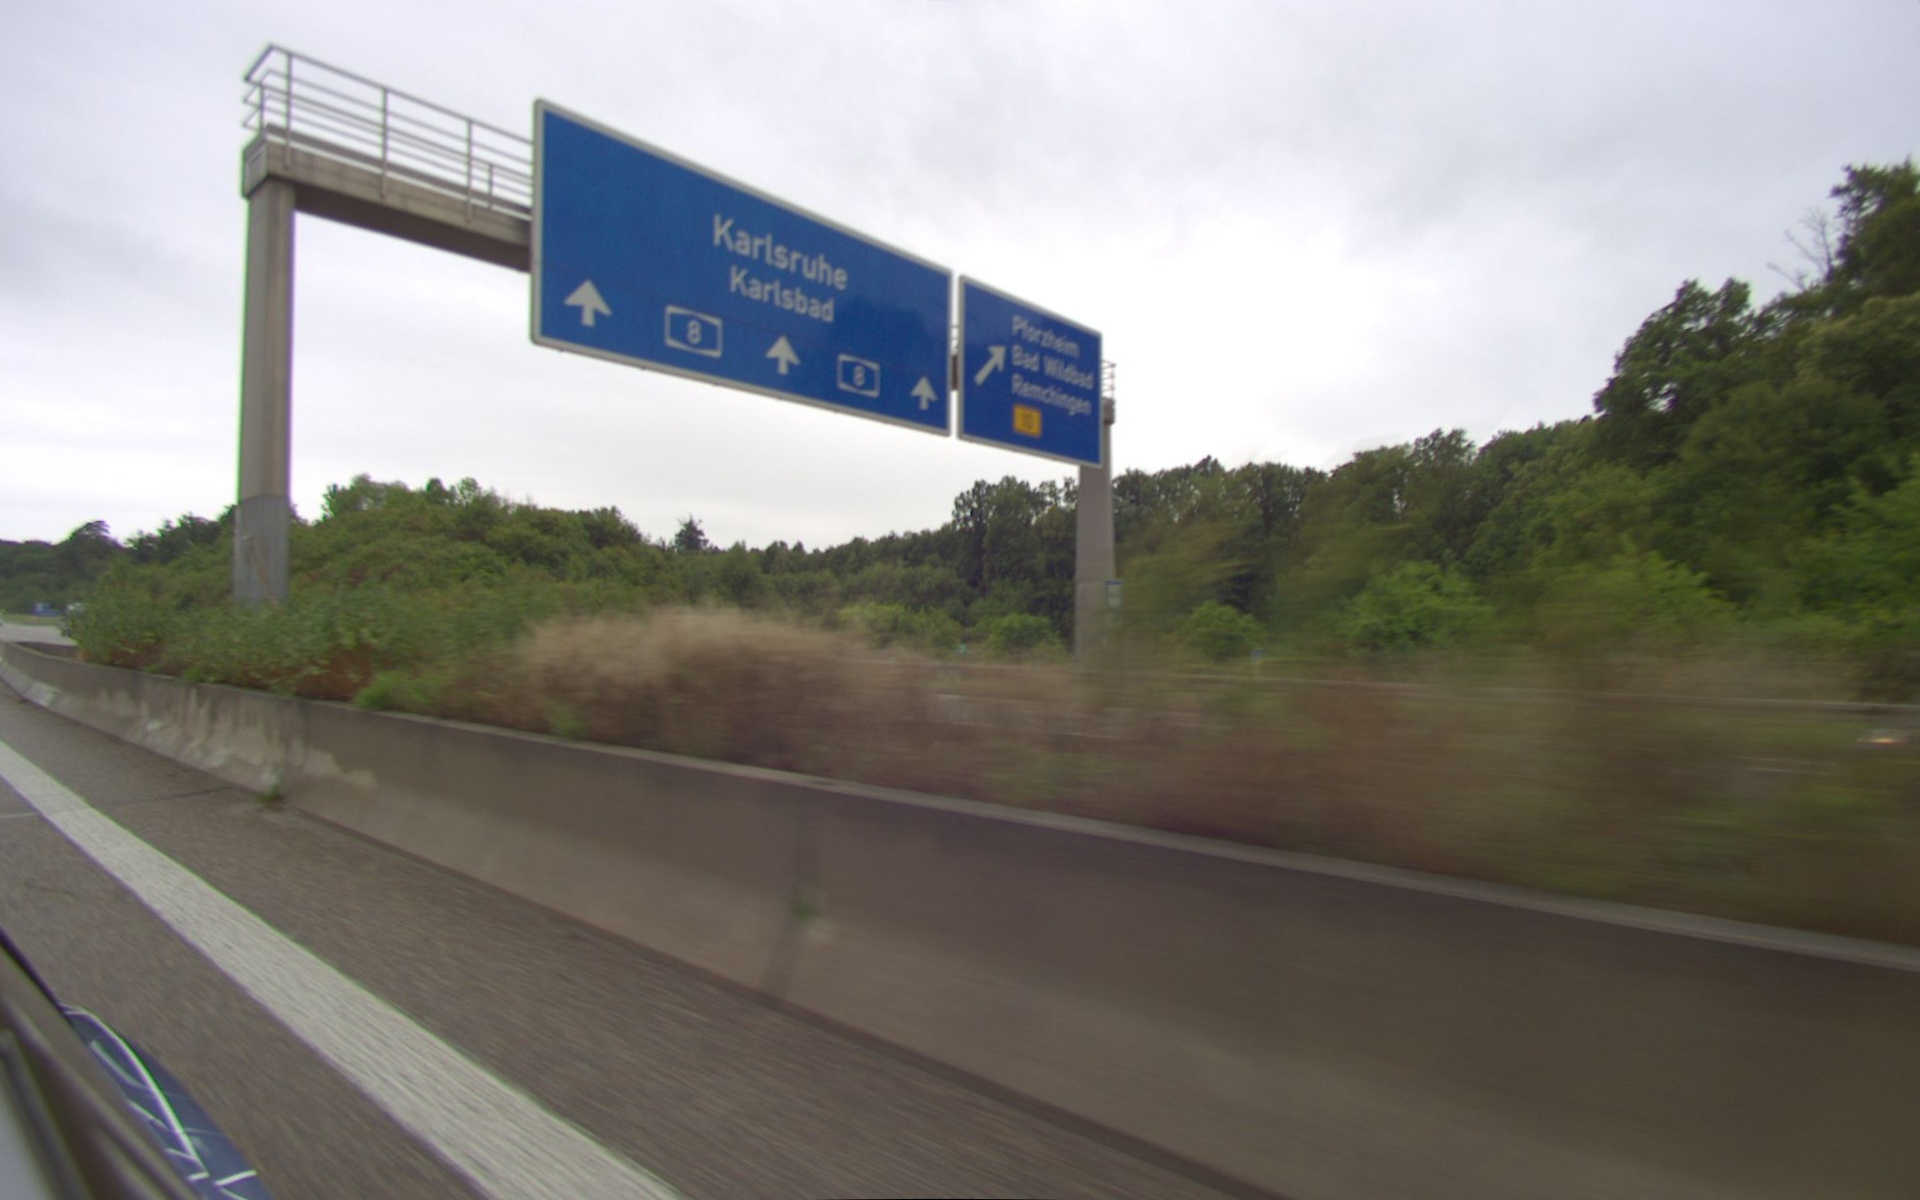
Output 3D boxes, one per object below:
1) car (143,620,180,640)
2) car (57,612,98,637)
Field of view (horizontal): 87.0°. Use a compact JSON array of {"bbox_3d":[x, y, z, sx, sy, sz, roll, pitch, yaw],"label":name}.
[{"bbox_3d":[-65.467,2.421,82.939,4.143,1.597,1.697,-1,-2,42],"label":"car"},{"bbox_3d":[-79.157,2.204,90.748,6.414,2.184,1.972,-1,-2,42],"label":"car"}]
